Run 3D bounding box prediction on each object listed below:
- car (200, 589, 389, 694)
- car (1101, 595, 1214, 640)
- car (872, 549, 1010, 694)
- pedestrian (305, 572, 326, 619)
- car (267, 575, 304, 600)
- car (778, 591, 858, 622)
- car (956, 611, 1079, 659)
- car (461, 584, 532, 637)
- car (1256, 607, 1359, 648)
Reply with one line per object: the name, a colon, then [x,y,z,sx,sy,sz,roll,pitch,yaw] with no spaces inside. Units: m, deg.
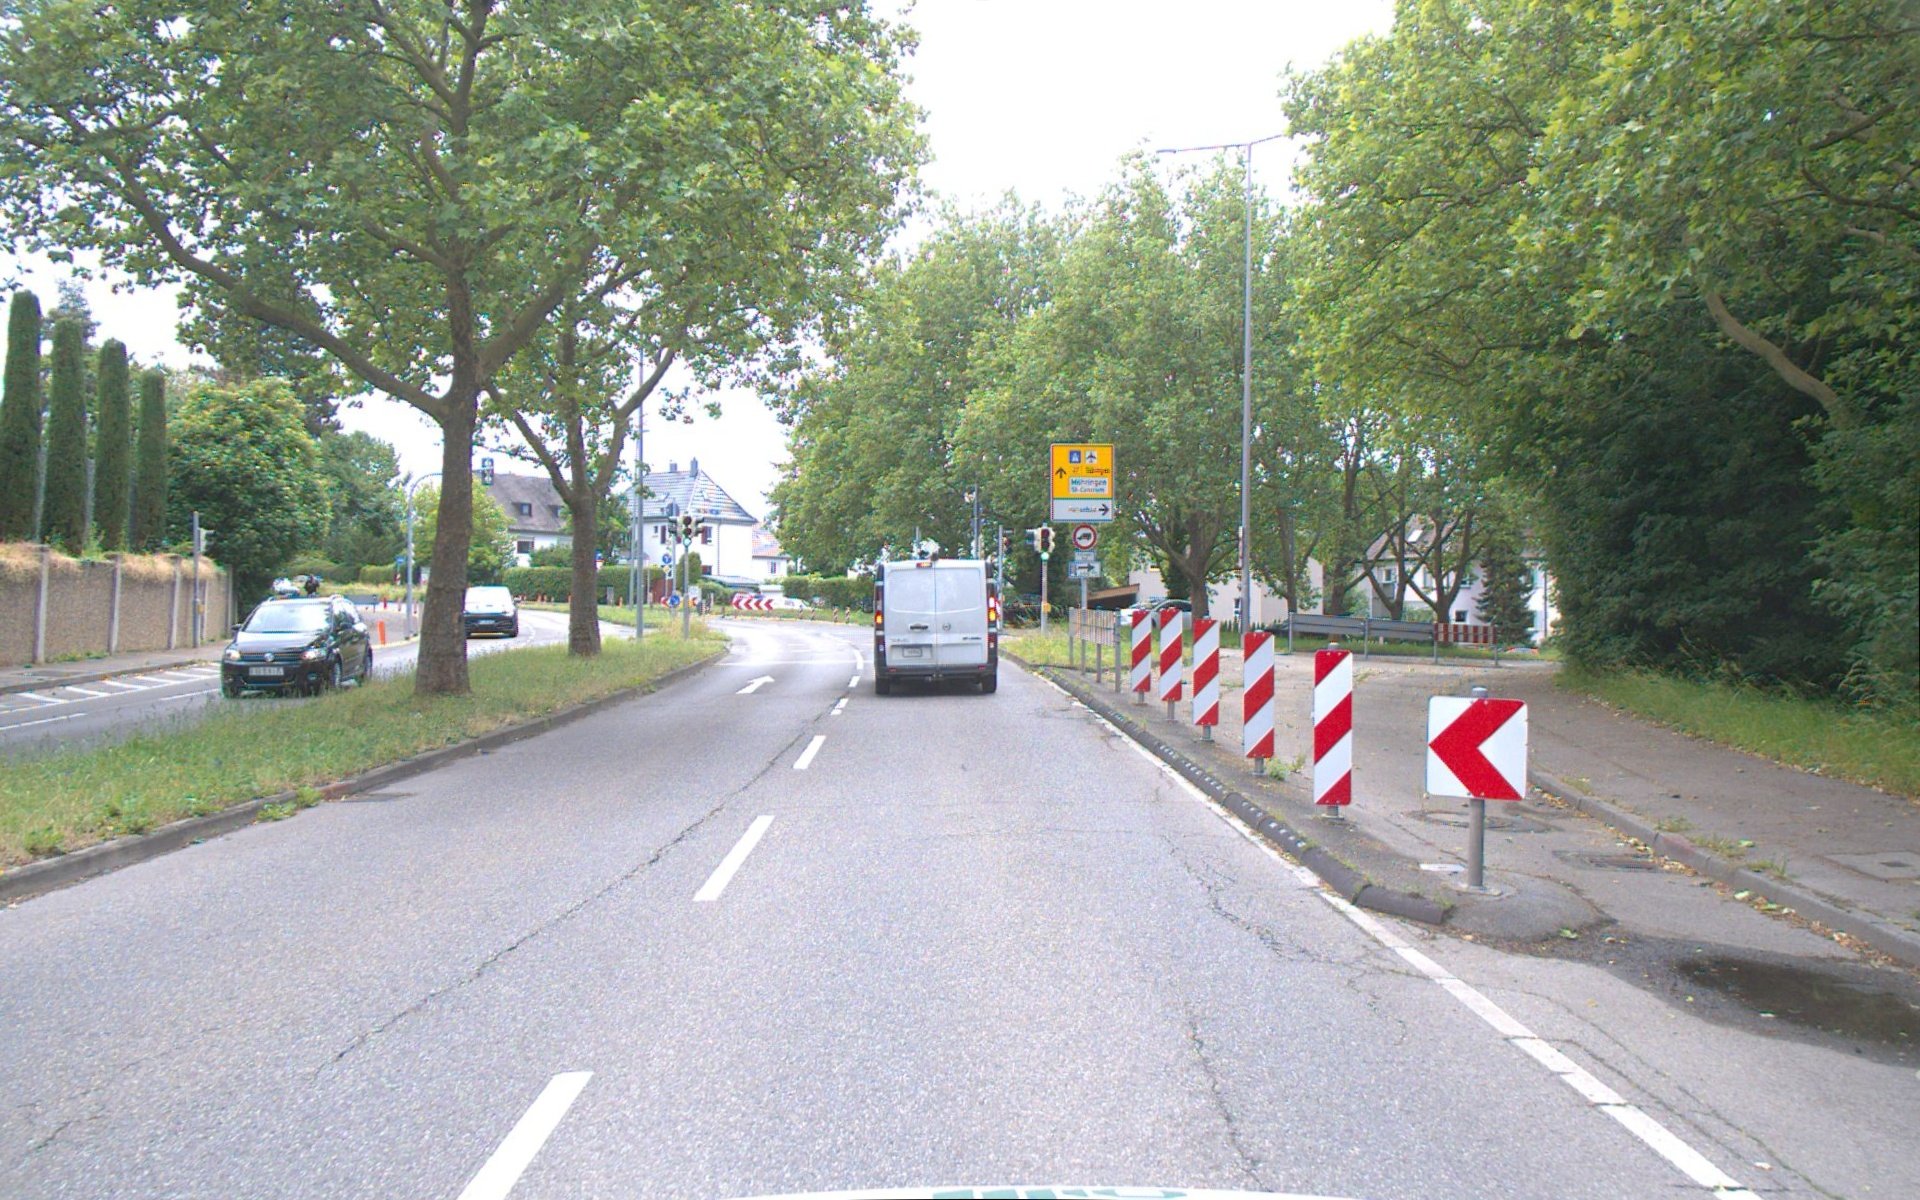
car: [-11.014,0.666,27.666,1.960,1.615,3.991,0,-1,-7]
car: [8.322,0.729,69.612,4.693,1.800,1.974,1,0,-37]
car: [-0.403,0.313,26.172,1.966,2.073,5.006,0,0,-3]
pedestrian: [-28.598,-0.210,73.365,0.728,2.048,0.630,2,1,-17]
car: [-47.918,-0.859,117.457,1.867,1.653,4.387,1,-1,-29]
car: [-8.695,0.392,101.218,4.644,1.800,1.995,1,0,32]
car: [2.301,1.359,65.402,4.693,1.800,1.974,1,0,-37]
car: [-15.200,0.366,54.121,1.919,1.653,4.404,0,-1,-20]
car: [15.786,1.250,75.048,4.693,1.800,1.974,1,0,-37]
